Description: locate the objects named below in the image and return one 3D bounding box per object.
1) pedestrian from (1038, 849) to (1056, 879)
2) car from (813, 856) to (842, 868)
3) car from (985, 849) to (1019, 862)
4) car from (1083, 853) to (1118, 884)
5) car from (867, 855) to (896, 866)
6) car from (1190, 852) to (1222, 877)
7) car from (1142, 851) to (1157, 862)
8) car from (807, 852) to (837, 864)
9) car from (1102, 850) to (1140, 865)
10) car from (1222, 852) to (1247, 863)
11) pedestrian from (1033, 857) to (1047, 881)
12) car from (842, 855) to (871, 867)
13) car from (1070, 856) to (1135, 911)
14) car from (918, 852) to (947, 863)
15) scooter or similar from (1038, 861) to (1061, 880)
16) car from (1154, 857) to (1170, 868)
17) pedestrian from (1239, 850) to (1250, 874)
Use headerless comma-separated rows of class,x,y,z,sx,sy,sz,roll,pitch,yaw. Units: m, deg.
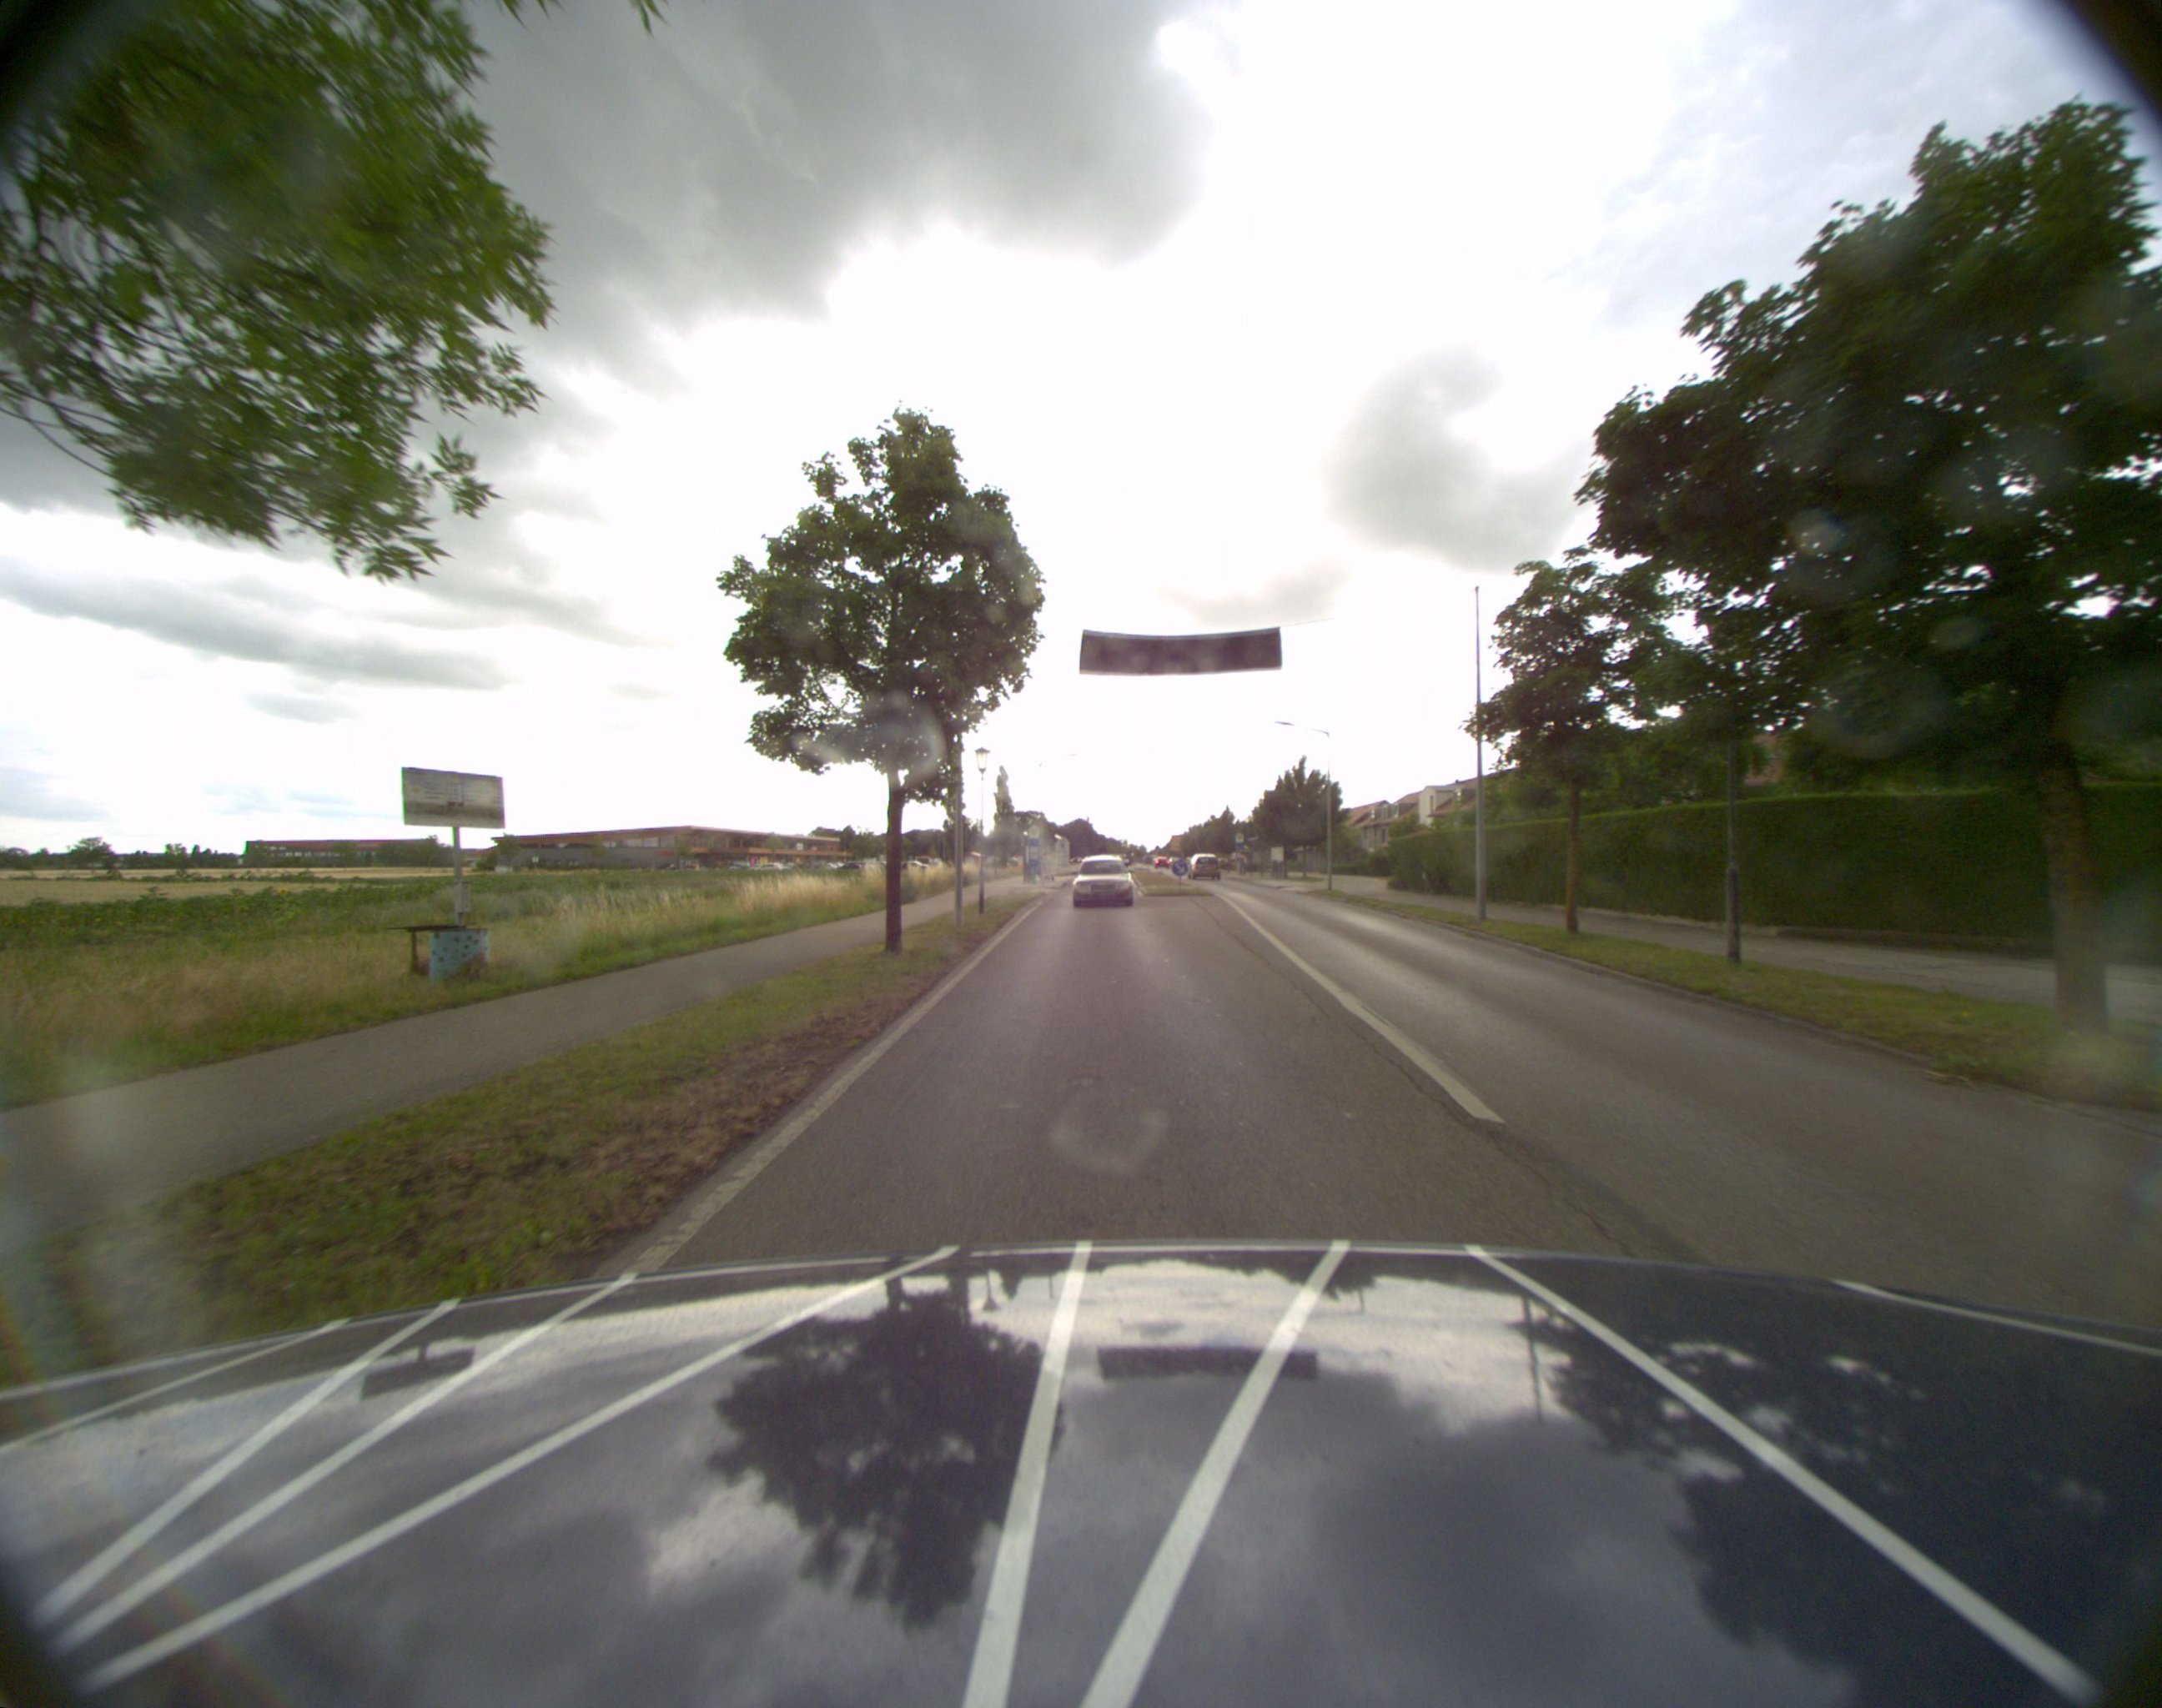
pedestrian,-2.066,0.607,46.078,0.782,1.782,0.780,-2,1,23
car,-49.200,1.575,147.591,4.857,2.002,1.999,-2,1,-5
car,-13.428,0.236,129.432,5.526,2.002,1.999,-2,1,-4
car,1.082,0.754,41.154,1.763,1.495,4.691,-3,0,2
car,-41.787,1.397,159.326,5.526,2.002,1.999,-2,1,-4
car,7.959,0.655,48.611,1.711,1.523,3.508,1,0,4
car,13.528,0.412,151.219,2.560,2.002,5.317,-2,1,1
car,-48.067,0.753,141.071,4.857,2.002,1.999,-2,1,-5
car,6.019,0.489,114.951,5.319,2.002,1.998,-3,1,-12
car,29.805,0.691,147.698,4.567,2.002,2.001,-2,1,7
pedestrian,-2.294,0.834,42.246,0.666,1.295,0.505,-3,1,3
car,-42.573,1.327,144.225,4.857,2.002,1.999,-2,1,-5
car,0.690,0.841,23.579,1.763,1.410,4.520,-3,0,2
car,-30.036,0.722,154.080,5.526,2.002,1.999,-2,1,-4
scooter or similar,-1.751,0.924,42.750,0.707,1.056,1.062,-2,1,39
car,10.778,1.097,101.100,1.924,1.445,4.497,0,0,3
pedestrian,11.202,0.519,52.172,0.589,1.627,0.813,-1,0,2
